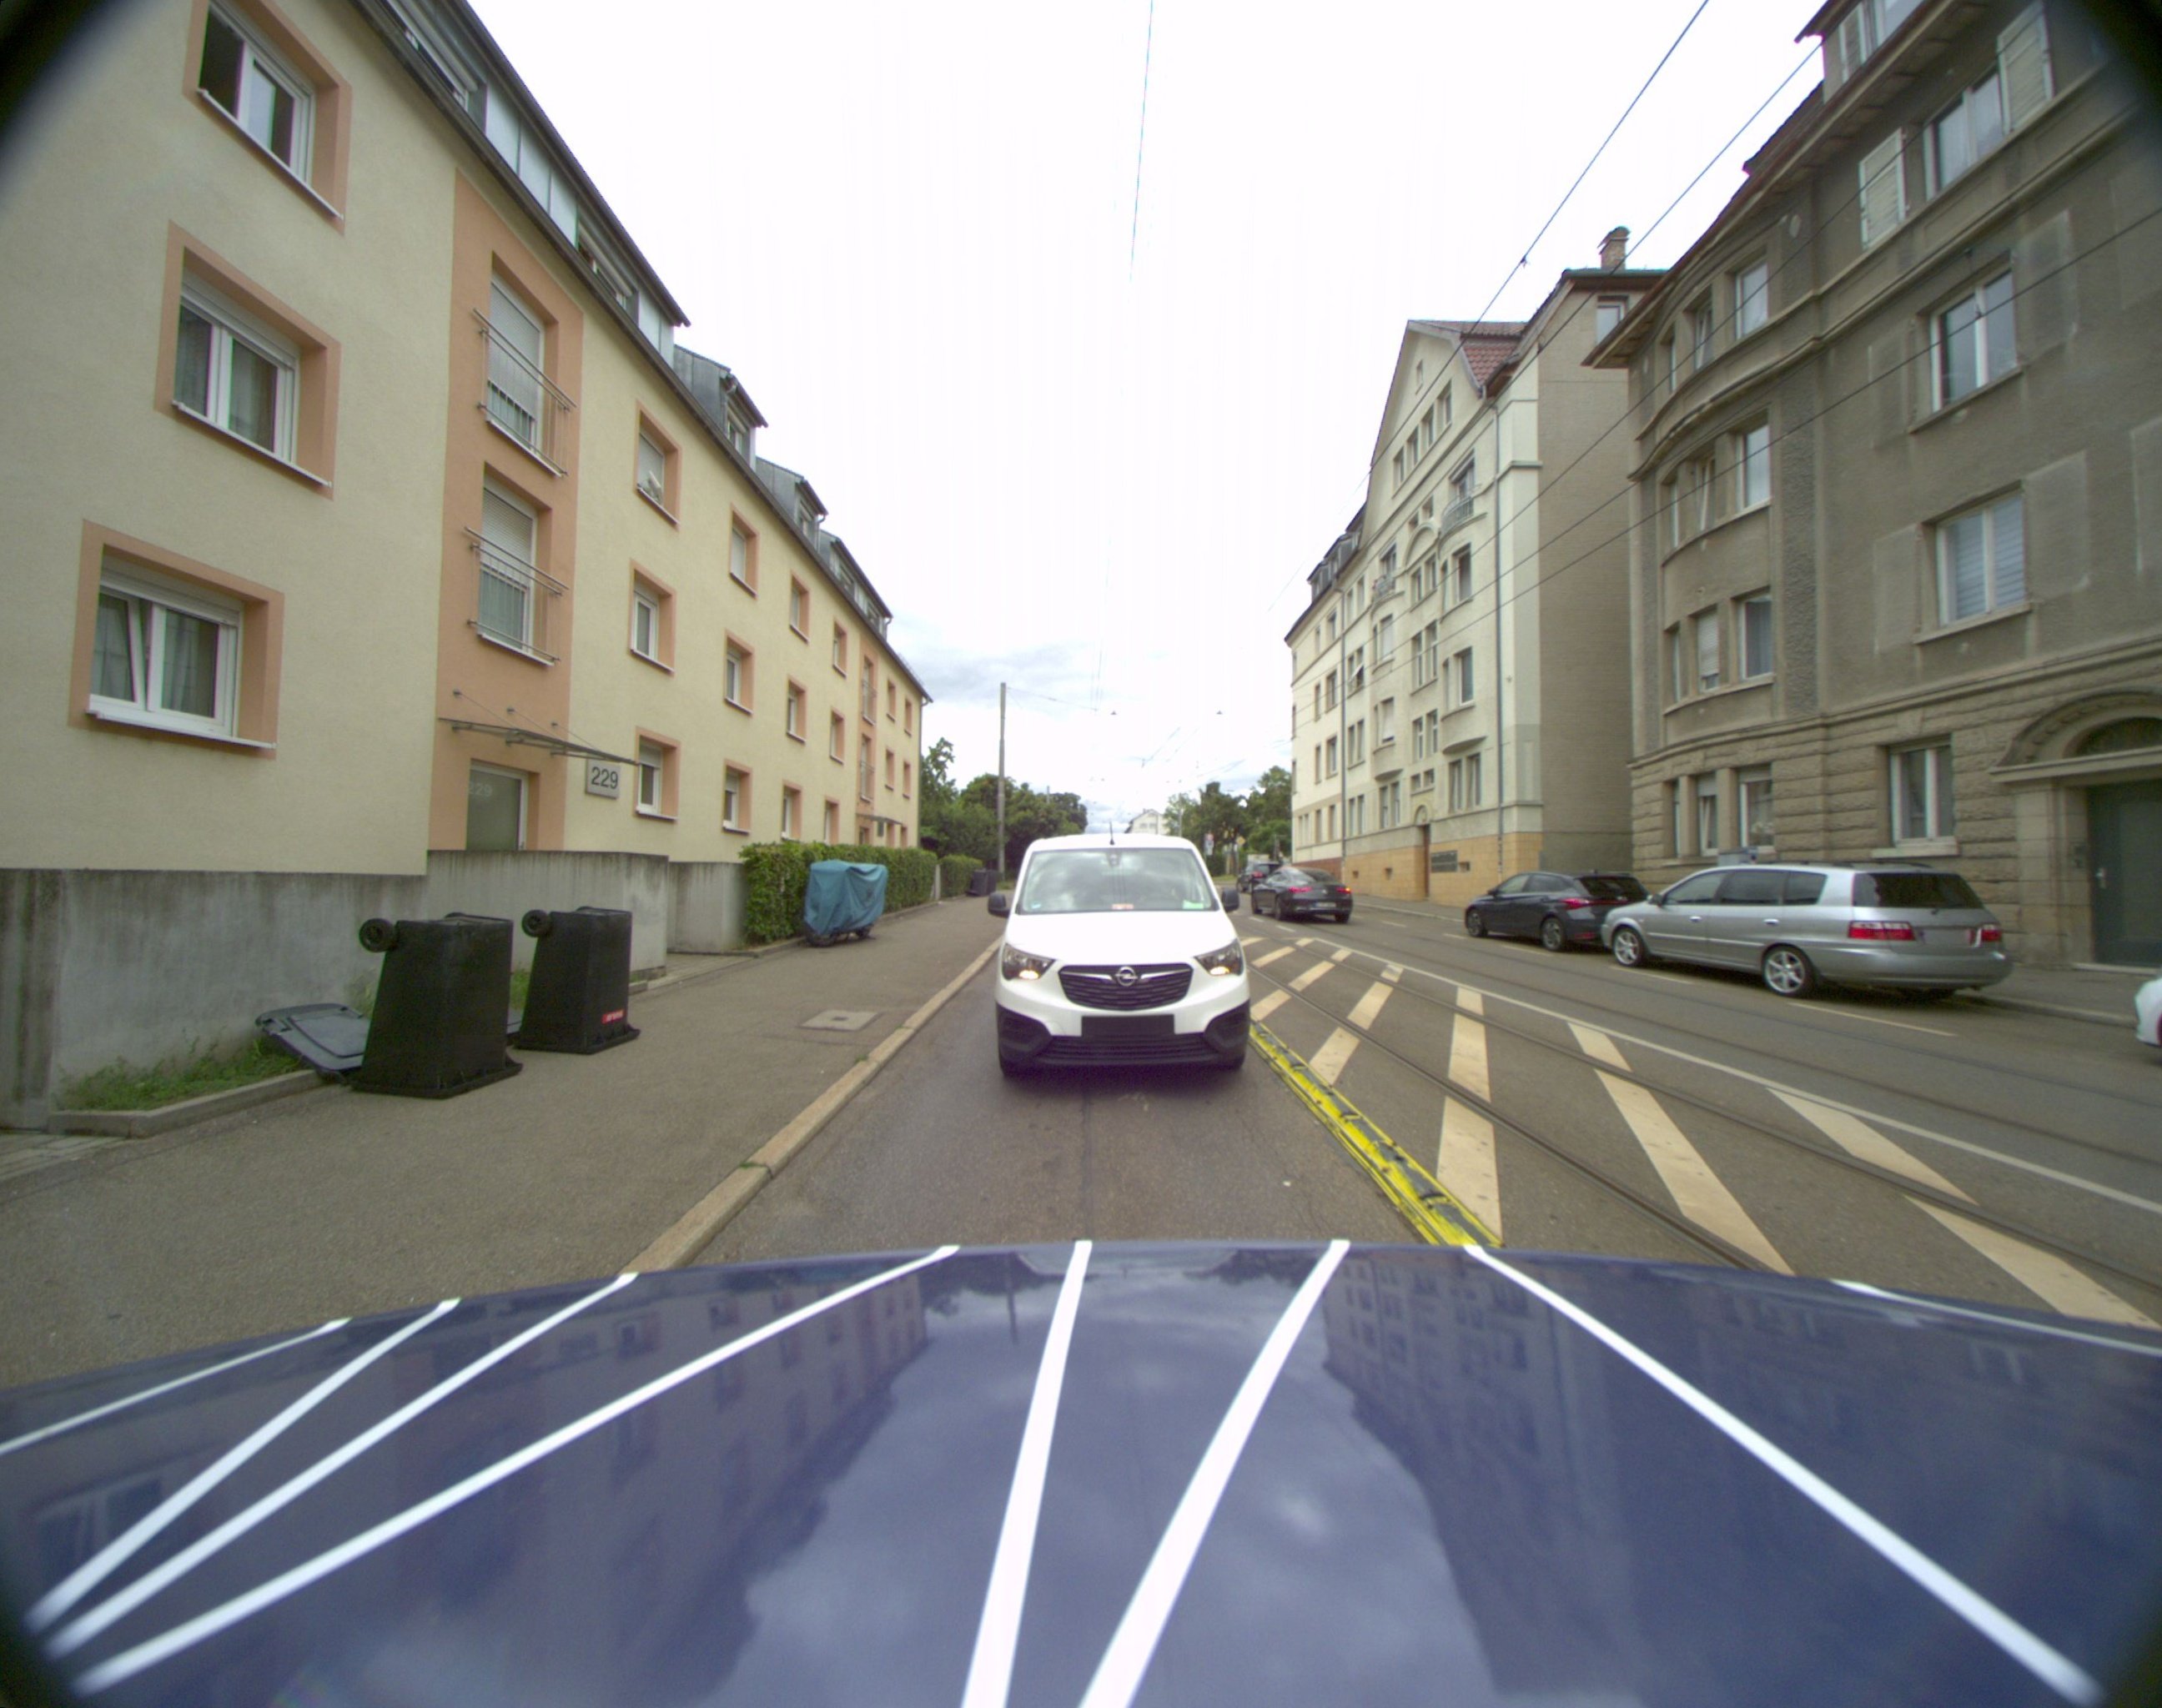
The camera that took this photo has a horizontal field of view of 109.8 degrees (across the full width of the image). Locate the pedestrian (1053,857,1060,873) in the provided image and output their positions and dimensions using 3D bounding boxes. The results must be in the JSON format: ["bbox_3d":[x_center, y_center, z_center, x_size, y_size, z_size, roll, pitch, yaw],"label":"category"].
[{"bbox_3d":[-2.567,1.151,79.253,0.716,1.611,0.718,1,0,1],"label":"pedestrian"}]

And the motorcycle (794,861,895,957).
[{"bbox_3d":[-3.893,0.844,12.788,0.840,1.448,2.553,1,0,1],"label":"motorcycle"}]

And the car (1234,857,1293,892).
[{"bbox_3d":[9.284,0.991,39.004,1.872,1.636,4.401,2,0,-1],"label":"car"}]

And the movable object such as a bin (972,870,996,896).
[{"bbox_3d":[-3.794,1.138,29.801,0.794,1.006,0.789,1,0,3],"label":"movable object such as a bin"}]

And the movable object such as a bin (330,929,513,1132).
[{"bbox_3d":[-3.897,1.013,4.525,0.612,1.073,0.541,1,0,3],"label":"movable object such as a bin"}]

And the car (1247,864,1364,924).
[{"bbox_3d":[6.080,1.027,21.174,1.926,1.416,4.498,1,0,0],"label":"car"}]

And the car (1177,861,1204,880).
[{"bbox_3d":[9.263,1.363,64.447,1.625,1.469,4.155,2,0,-1],"label":"car"}]

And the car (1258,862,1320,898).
[{"bbox_3d":[9.304,1.122,34.299,1.625,1.454,3.744,2,0,-2],"label":"car"}]

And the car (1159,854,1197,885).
[{"bbox_3d":[6.046,0.937,47.757,1.925,1.808,4.218,1,0,2],"label":"car"}]

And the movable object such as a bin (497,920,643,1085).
[{"bbox_3d":[-3.732,1.056,5.597,0.590,1.073,0.692,1,0,3],"label":"movable object such as a bin"}]

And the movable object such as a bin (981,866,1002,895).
[{"bbox_3d":[-3.715,1.096,31.625,0.794,1.211,0.789,1,0,-3],"label":"movable object such as a bin"}]

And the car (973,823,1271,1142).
[{"bbox_3d":[0.299,0.781,6.687,1.730,1.850,4.421,1,-1,2],"label":"car"}]

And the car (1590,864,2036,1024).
[{"bbox_3d":[9.004,0.957,10.008,1.625,1.595,4.351,2,-1,-1],"label":"car"}]

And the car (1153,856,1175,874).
[{"bbox_3d":[9.668,1.275,88.451,1.974,1.901,4.734,2,0,-1],"label":"car"}]

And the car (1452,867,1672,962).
[{"bbox_3d":[9.010,1.039,14.688,1.625,1.454,4.032,2,0,-1],"label":"car"}]

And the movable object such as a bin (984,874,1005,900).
[{"bbox_3d":[-3.482,1.321,30.722,0.794,1.006,0.789,1,0,-3],"label":"movable object such as a bin"}]

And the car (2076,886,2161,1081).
[{"bbox_3d":[8.982,1.021,4.387,1.625,1.454,3.685,2,0,1],"label":"car"}]
